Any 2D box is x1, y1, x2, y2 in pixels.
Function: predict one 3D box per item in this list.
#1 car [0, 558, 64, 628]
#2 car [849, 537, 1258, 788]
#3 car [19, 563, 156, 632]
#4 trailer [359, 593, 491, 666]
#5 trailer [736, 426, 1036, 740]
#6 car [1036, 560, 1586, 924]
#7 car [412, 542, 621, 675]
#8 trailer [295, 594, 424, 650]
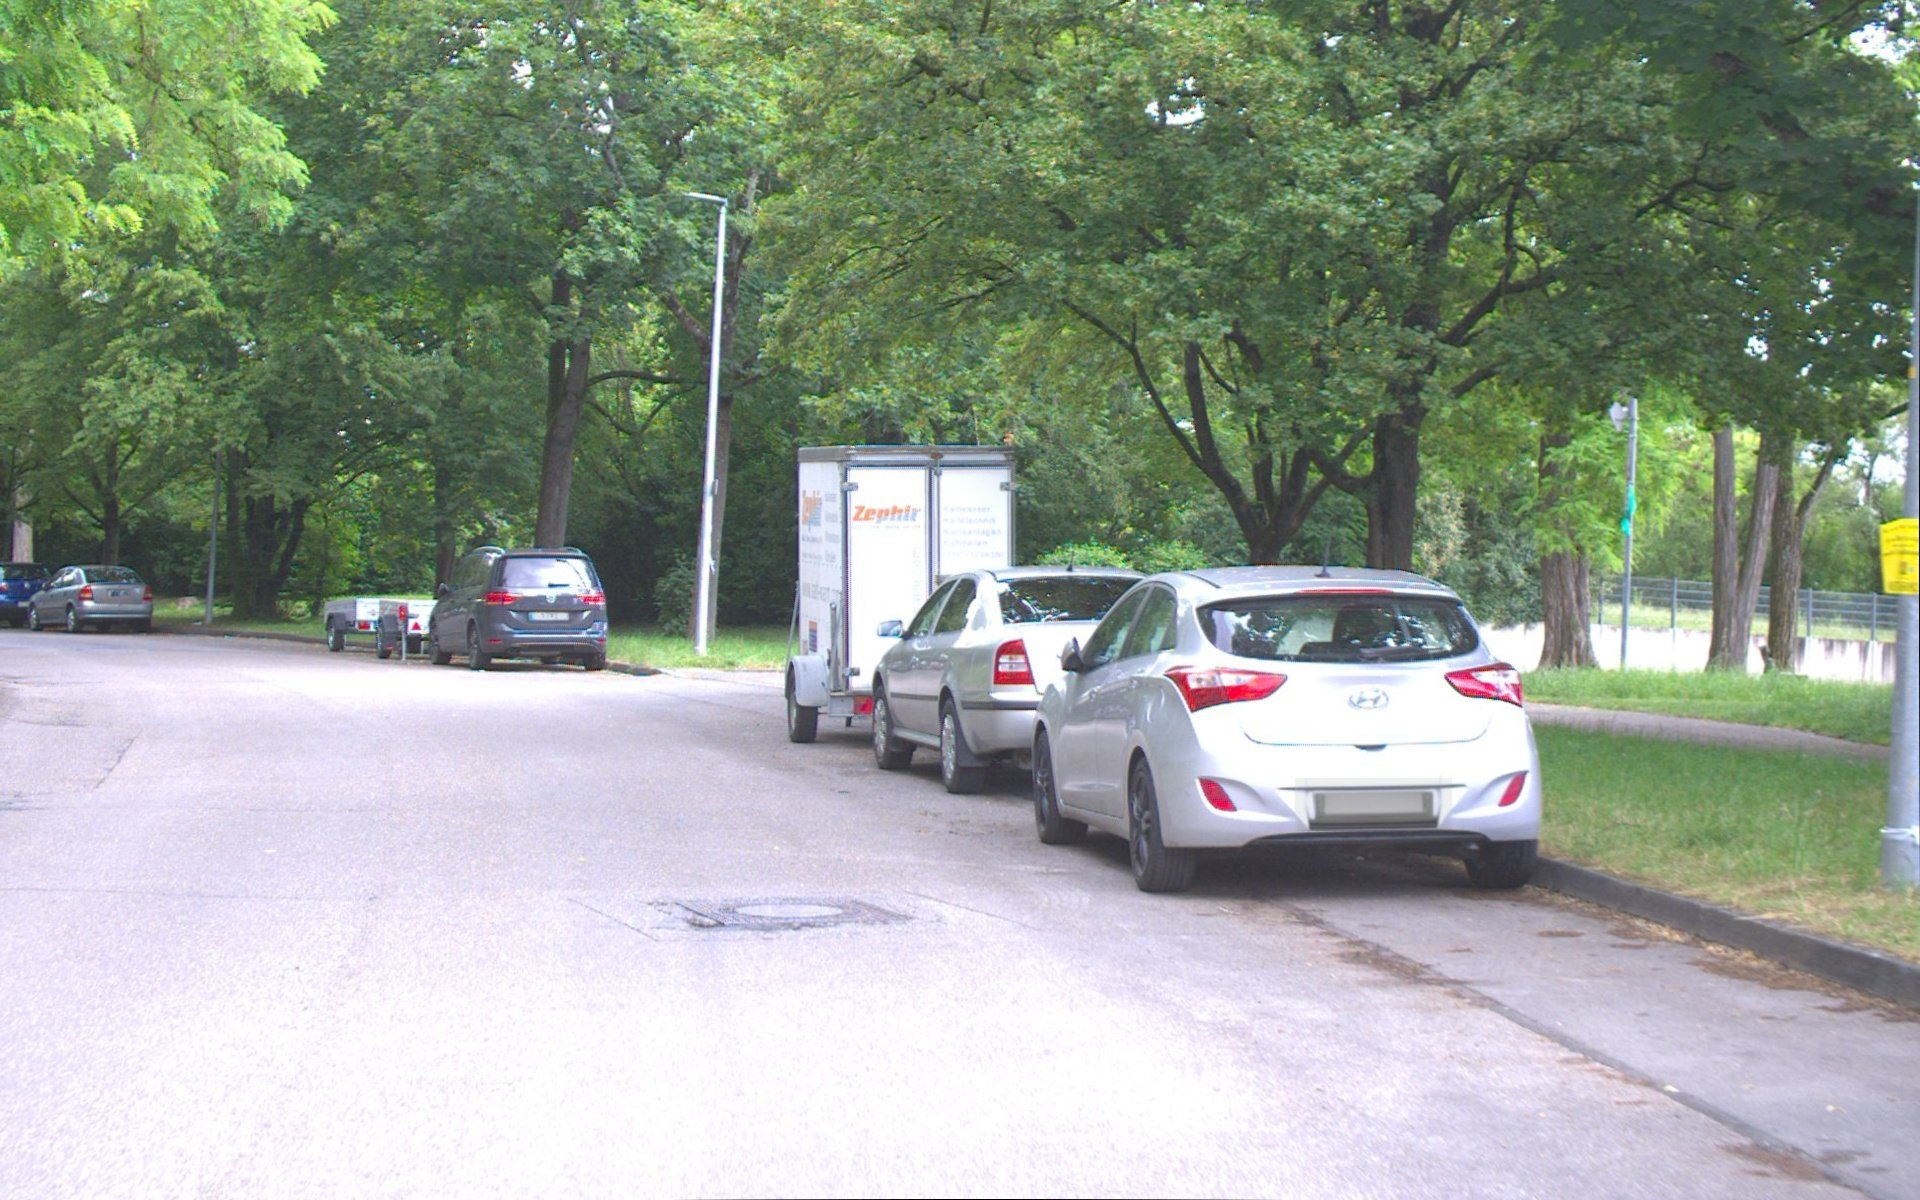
[{"bbox_3d":[-22.081,-0.157,78.752,1.714,1.505,4.181,3,-2,-33],"label":"car"},{"bbox_3d":[0.511,0.376,23.268,1.740,1.520,4.637,0,0,-12],"label":"car"},{"bbox_3d":[-18.561,-0.032,73.030,1.717,1.427,3.948,0,0,-32],"label":"car"},{"bbox_3d":[-8.243,0.431,52.759,1.357,0.965,3.894,3,0,-18],"label":"trailer"},{"bbox_3d":[-0.691,-0.147,28.552,1.760,2.418,3.888,0,0,-12],"label":"trailer"},{"bbox_3d":[1.539,0.589,16.591,1.902,1.471,4.059,2,0,-4],"label":"car"},{"bbox_3d":[-6.127,0.107,47.029,1.775,1.657,4.842,3,-1,-20],"label":"car"},{"bbox_3d":[-10.018,0.384,57.220,1.363,0.845,3.279,3,-2,-23],"label":"trailer"}]
